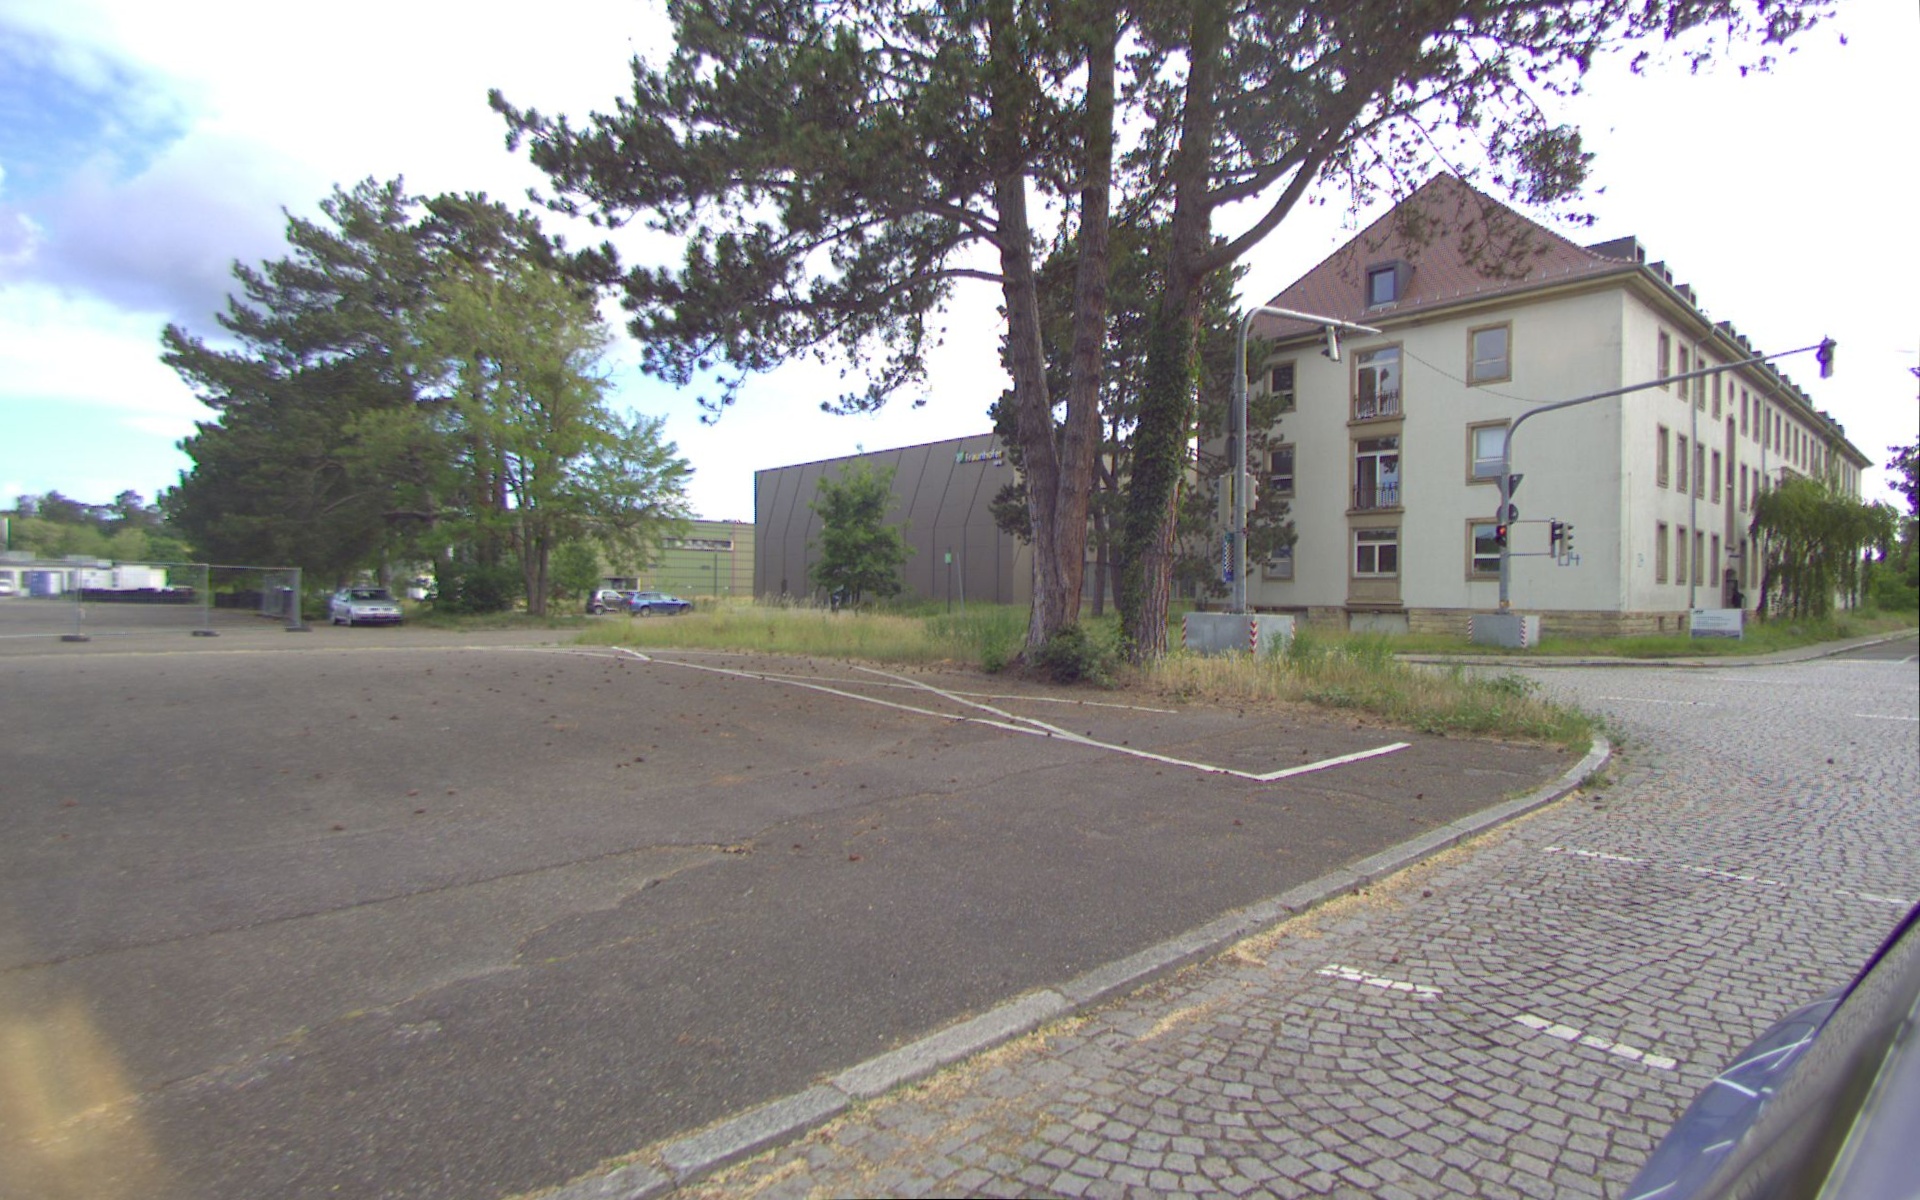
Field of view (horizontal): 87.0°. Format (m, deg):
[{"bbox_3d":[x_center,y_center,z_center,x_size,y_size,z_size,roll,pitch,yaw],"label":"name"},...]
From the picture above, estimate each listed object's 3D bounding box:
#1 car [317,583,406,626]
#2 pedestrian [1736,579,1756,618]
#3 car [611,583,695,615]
[{"bbox_3d":[-22.108,0.145,37.316,1.941,1.501,3.989,0,0,-45],"label":"car"},{"bbox_3d":[34.180,-0.069,44.025,0.522,1.722,0.568,1,0,-39],"label":"pedestrian"},{"bbox_3d":[-18.390,-0.073,60.645,4.402,1.854,1.995,0,0,-44],"label":"car"}]
